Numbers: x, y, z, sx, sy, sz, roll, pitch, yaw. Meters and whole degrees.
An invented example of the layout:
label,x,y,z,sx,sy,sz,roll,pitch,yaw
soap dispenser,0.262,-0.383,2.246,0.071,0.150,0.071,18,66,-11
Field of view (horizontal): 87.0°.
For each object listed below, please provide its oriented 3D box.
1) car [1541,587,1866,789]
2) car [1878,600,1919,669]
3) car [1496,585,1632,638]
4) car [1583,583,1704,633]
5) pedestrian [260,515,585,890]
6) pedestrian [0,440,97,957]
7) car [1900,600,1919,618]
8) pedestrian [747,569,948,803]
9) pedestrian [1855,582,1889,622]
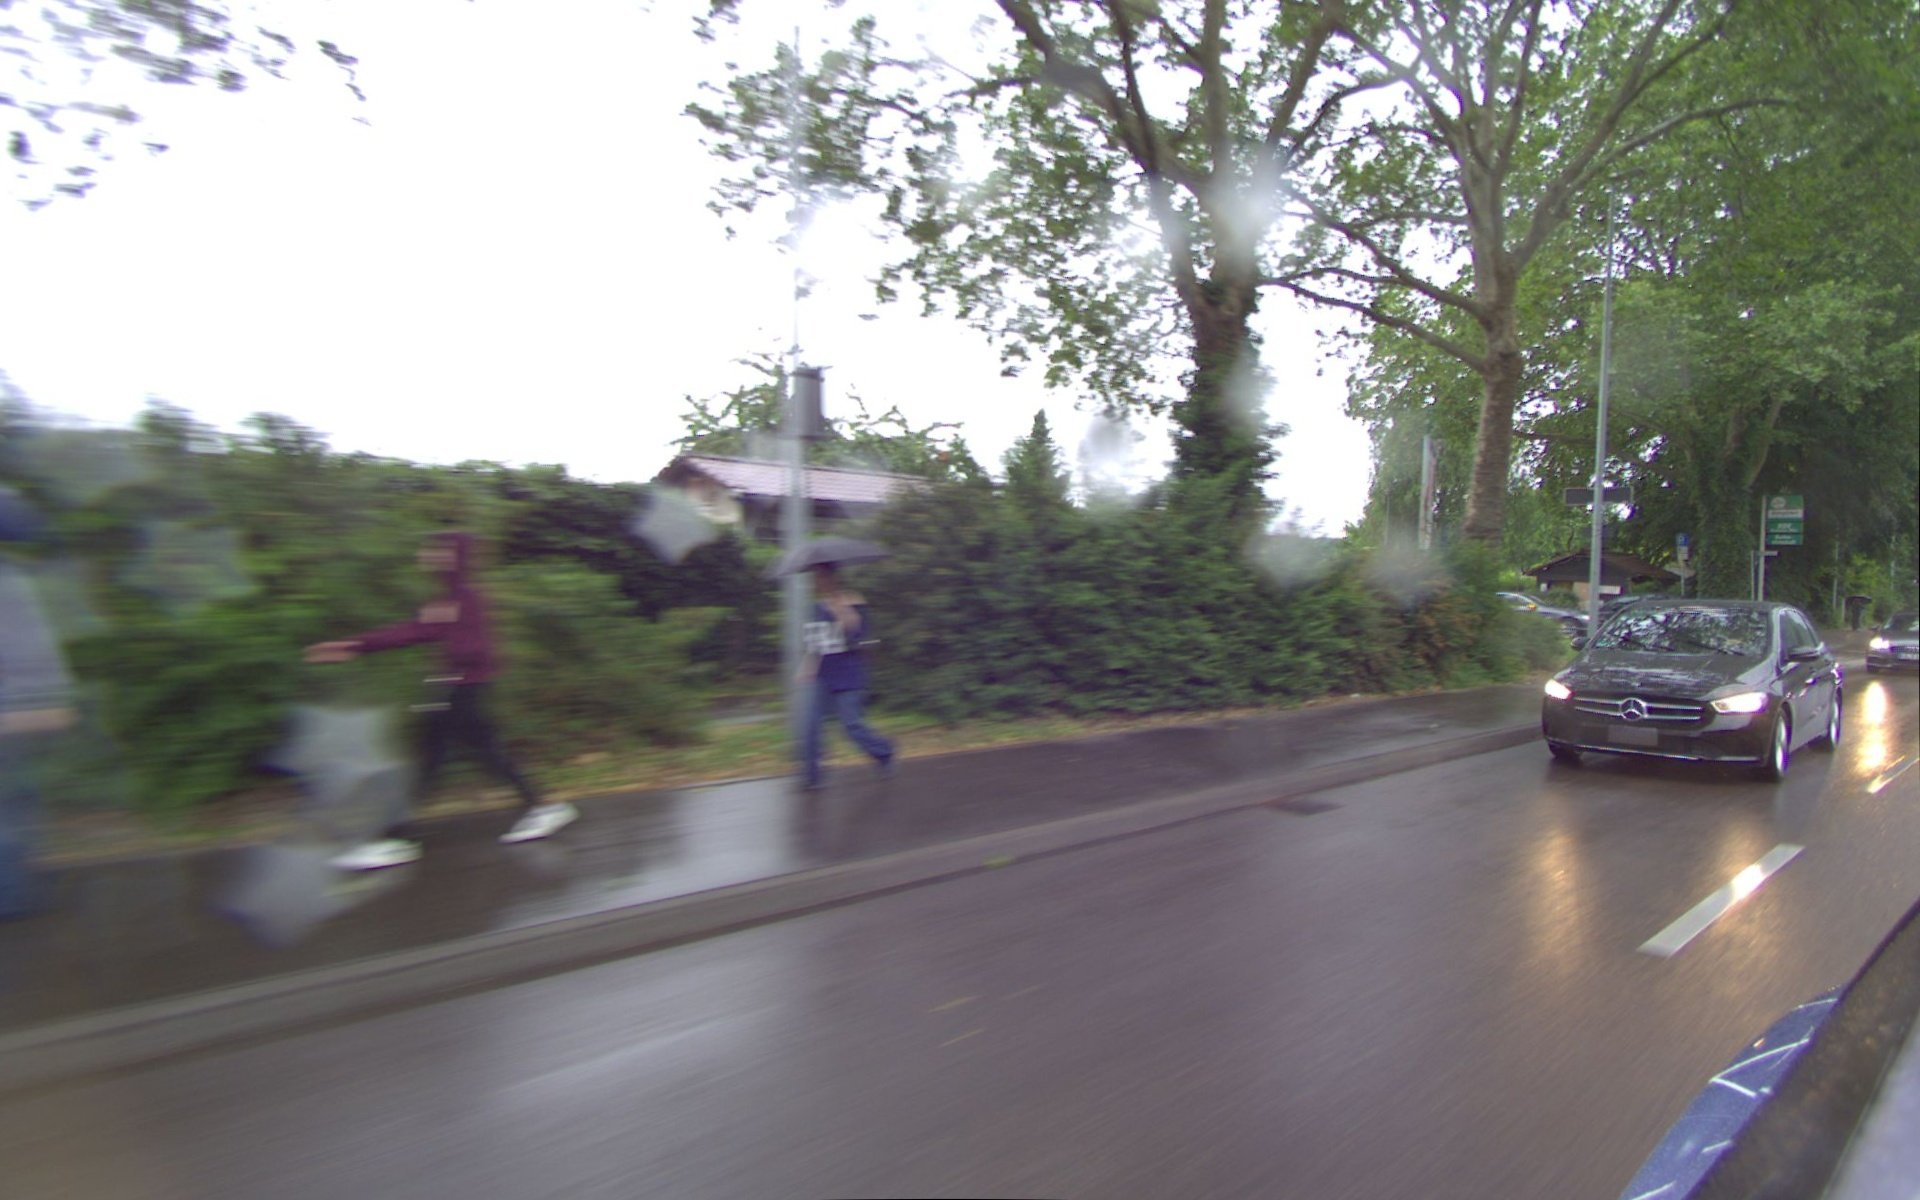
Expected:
label,x,y,z,sx,sy,sz,roll,pitch,yaw
car,7.437,0.665,9.948,4.347,1.549,1.818,0,0,-43
car,21.580,0.716,22.274,3.717,1.402,1.640,-1,1,-42
car,18.719,0.330,31.444,3.379,1.516,1.633,1,0,42
car,23.949,0.262,35.488,3.375,1.629,1.635,1,0,40
pedestrian,-2.706,0.417,5.108,1.271,1.608,0.949,0,2,-41
pedestrian,-3.983,0.322,3.794,1.127,1.807,1.242,0,2,-41
car,78.601,0.738,82.062,1.580,1.450,3.550,0,0,6
pedestrian,-0.771,0.516,6.875,0.998,1.407,0.894,0,3,-41
pedestrian,39.729,0.077,44.090,1.121,1.724,0.968,-1,0,-42
